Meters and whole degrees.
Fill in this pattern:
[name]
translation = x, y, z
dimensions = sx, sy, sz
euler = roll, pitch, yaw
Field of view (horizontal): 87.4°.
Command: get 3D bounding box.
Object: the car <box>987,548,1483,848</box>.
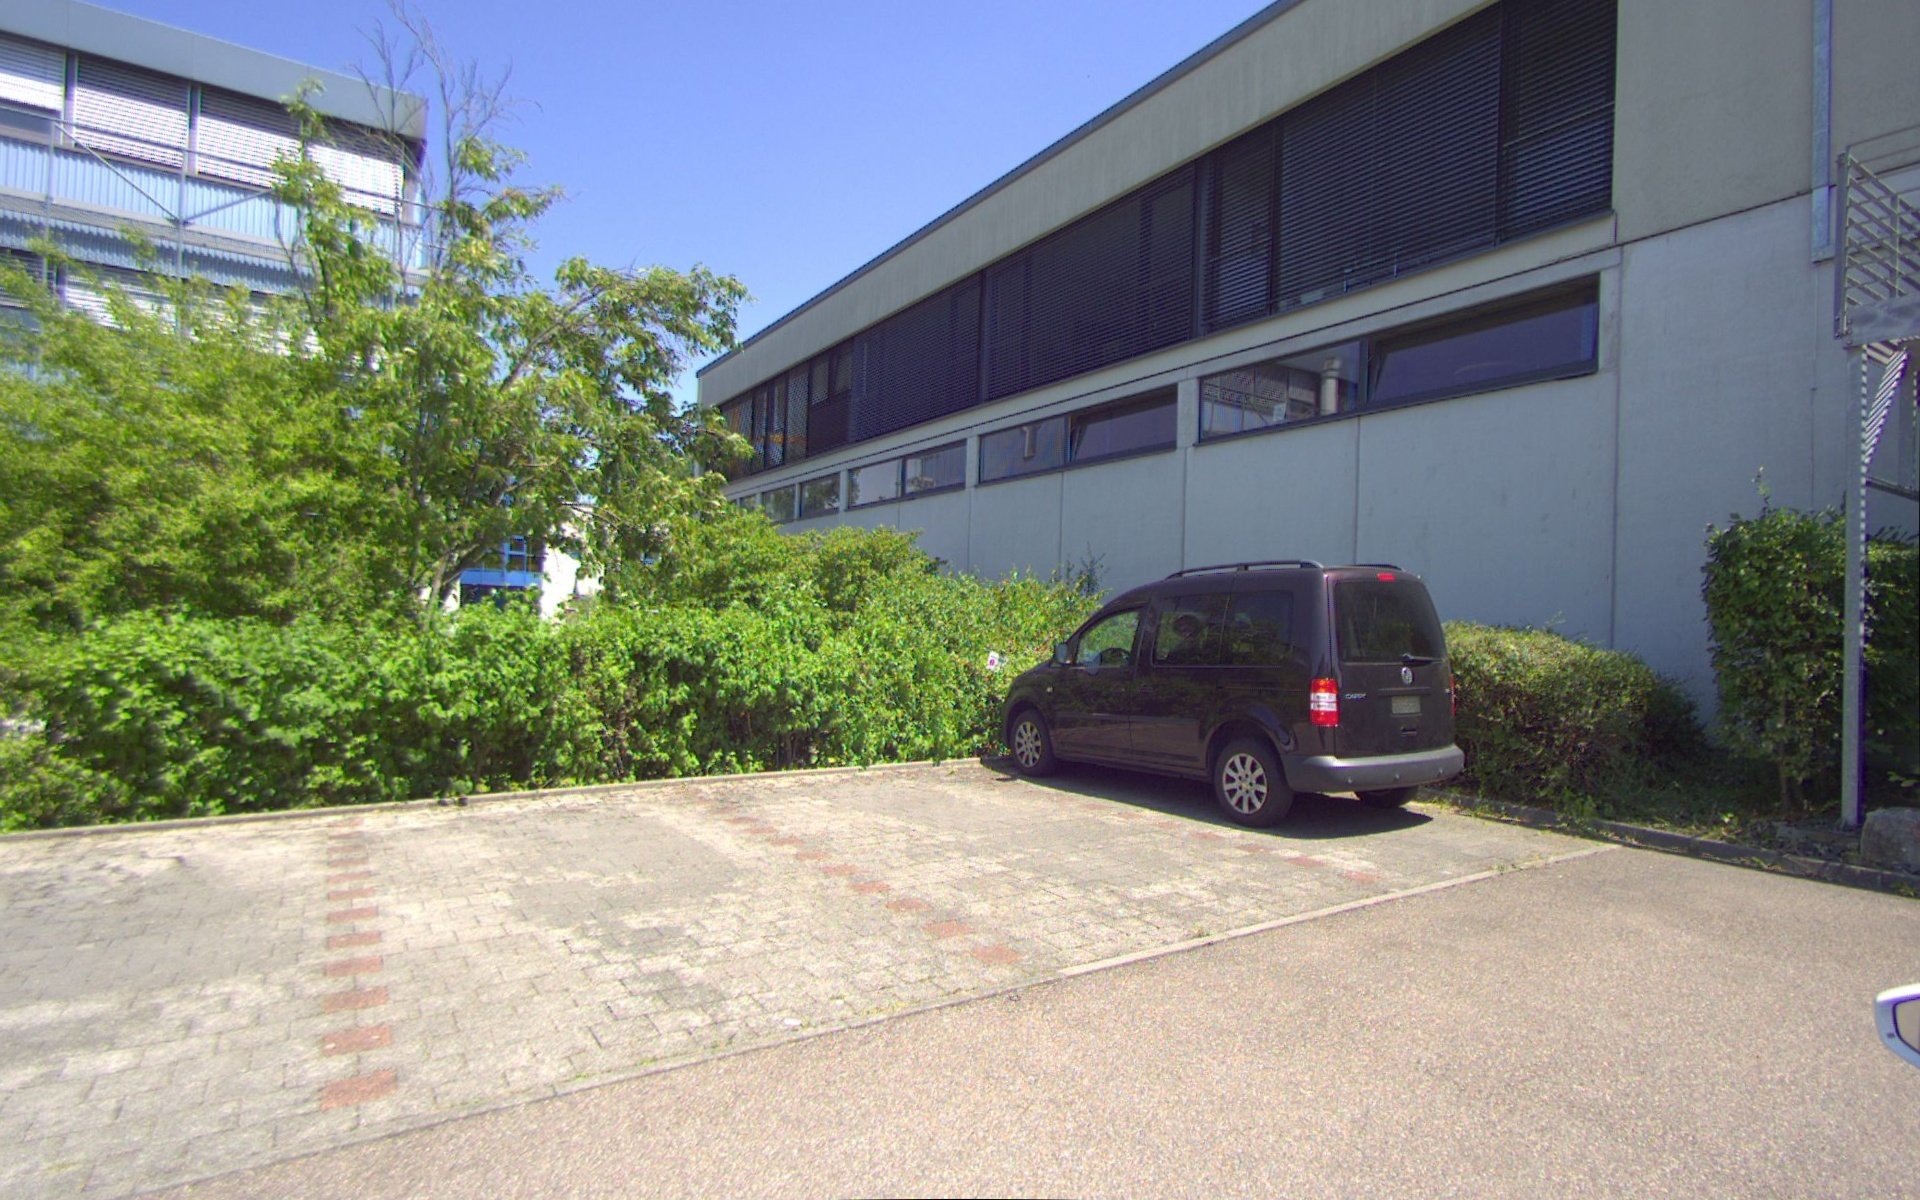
[car]
translation = 2.032, 0.644, 8.564
dimensions = 1.660, 1.909, 4.036
euler = 1, -1, -32
